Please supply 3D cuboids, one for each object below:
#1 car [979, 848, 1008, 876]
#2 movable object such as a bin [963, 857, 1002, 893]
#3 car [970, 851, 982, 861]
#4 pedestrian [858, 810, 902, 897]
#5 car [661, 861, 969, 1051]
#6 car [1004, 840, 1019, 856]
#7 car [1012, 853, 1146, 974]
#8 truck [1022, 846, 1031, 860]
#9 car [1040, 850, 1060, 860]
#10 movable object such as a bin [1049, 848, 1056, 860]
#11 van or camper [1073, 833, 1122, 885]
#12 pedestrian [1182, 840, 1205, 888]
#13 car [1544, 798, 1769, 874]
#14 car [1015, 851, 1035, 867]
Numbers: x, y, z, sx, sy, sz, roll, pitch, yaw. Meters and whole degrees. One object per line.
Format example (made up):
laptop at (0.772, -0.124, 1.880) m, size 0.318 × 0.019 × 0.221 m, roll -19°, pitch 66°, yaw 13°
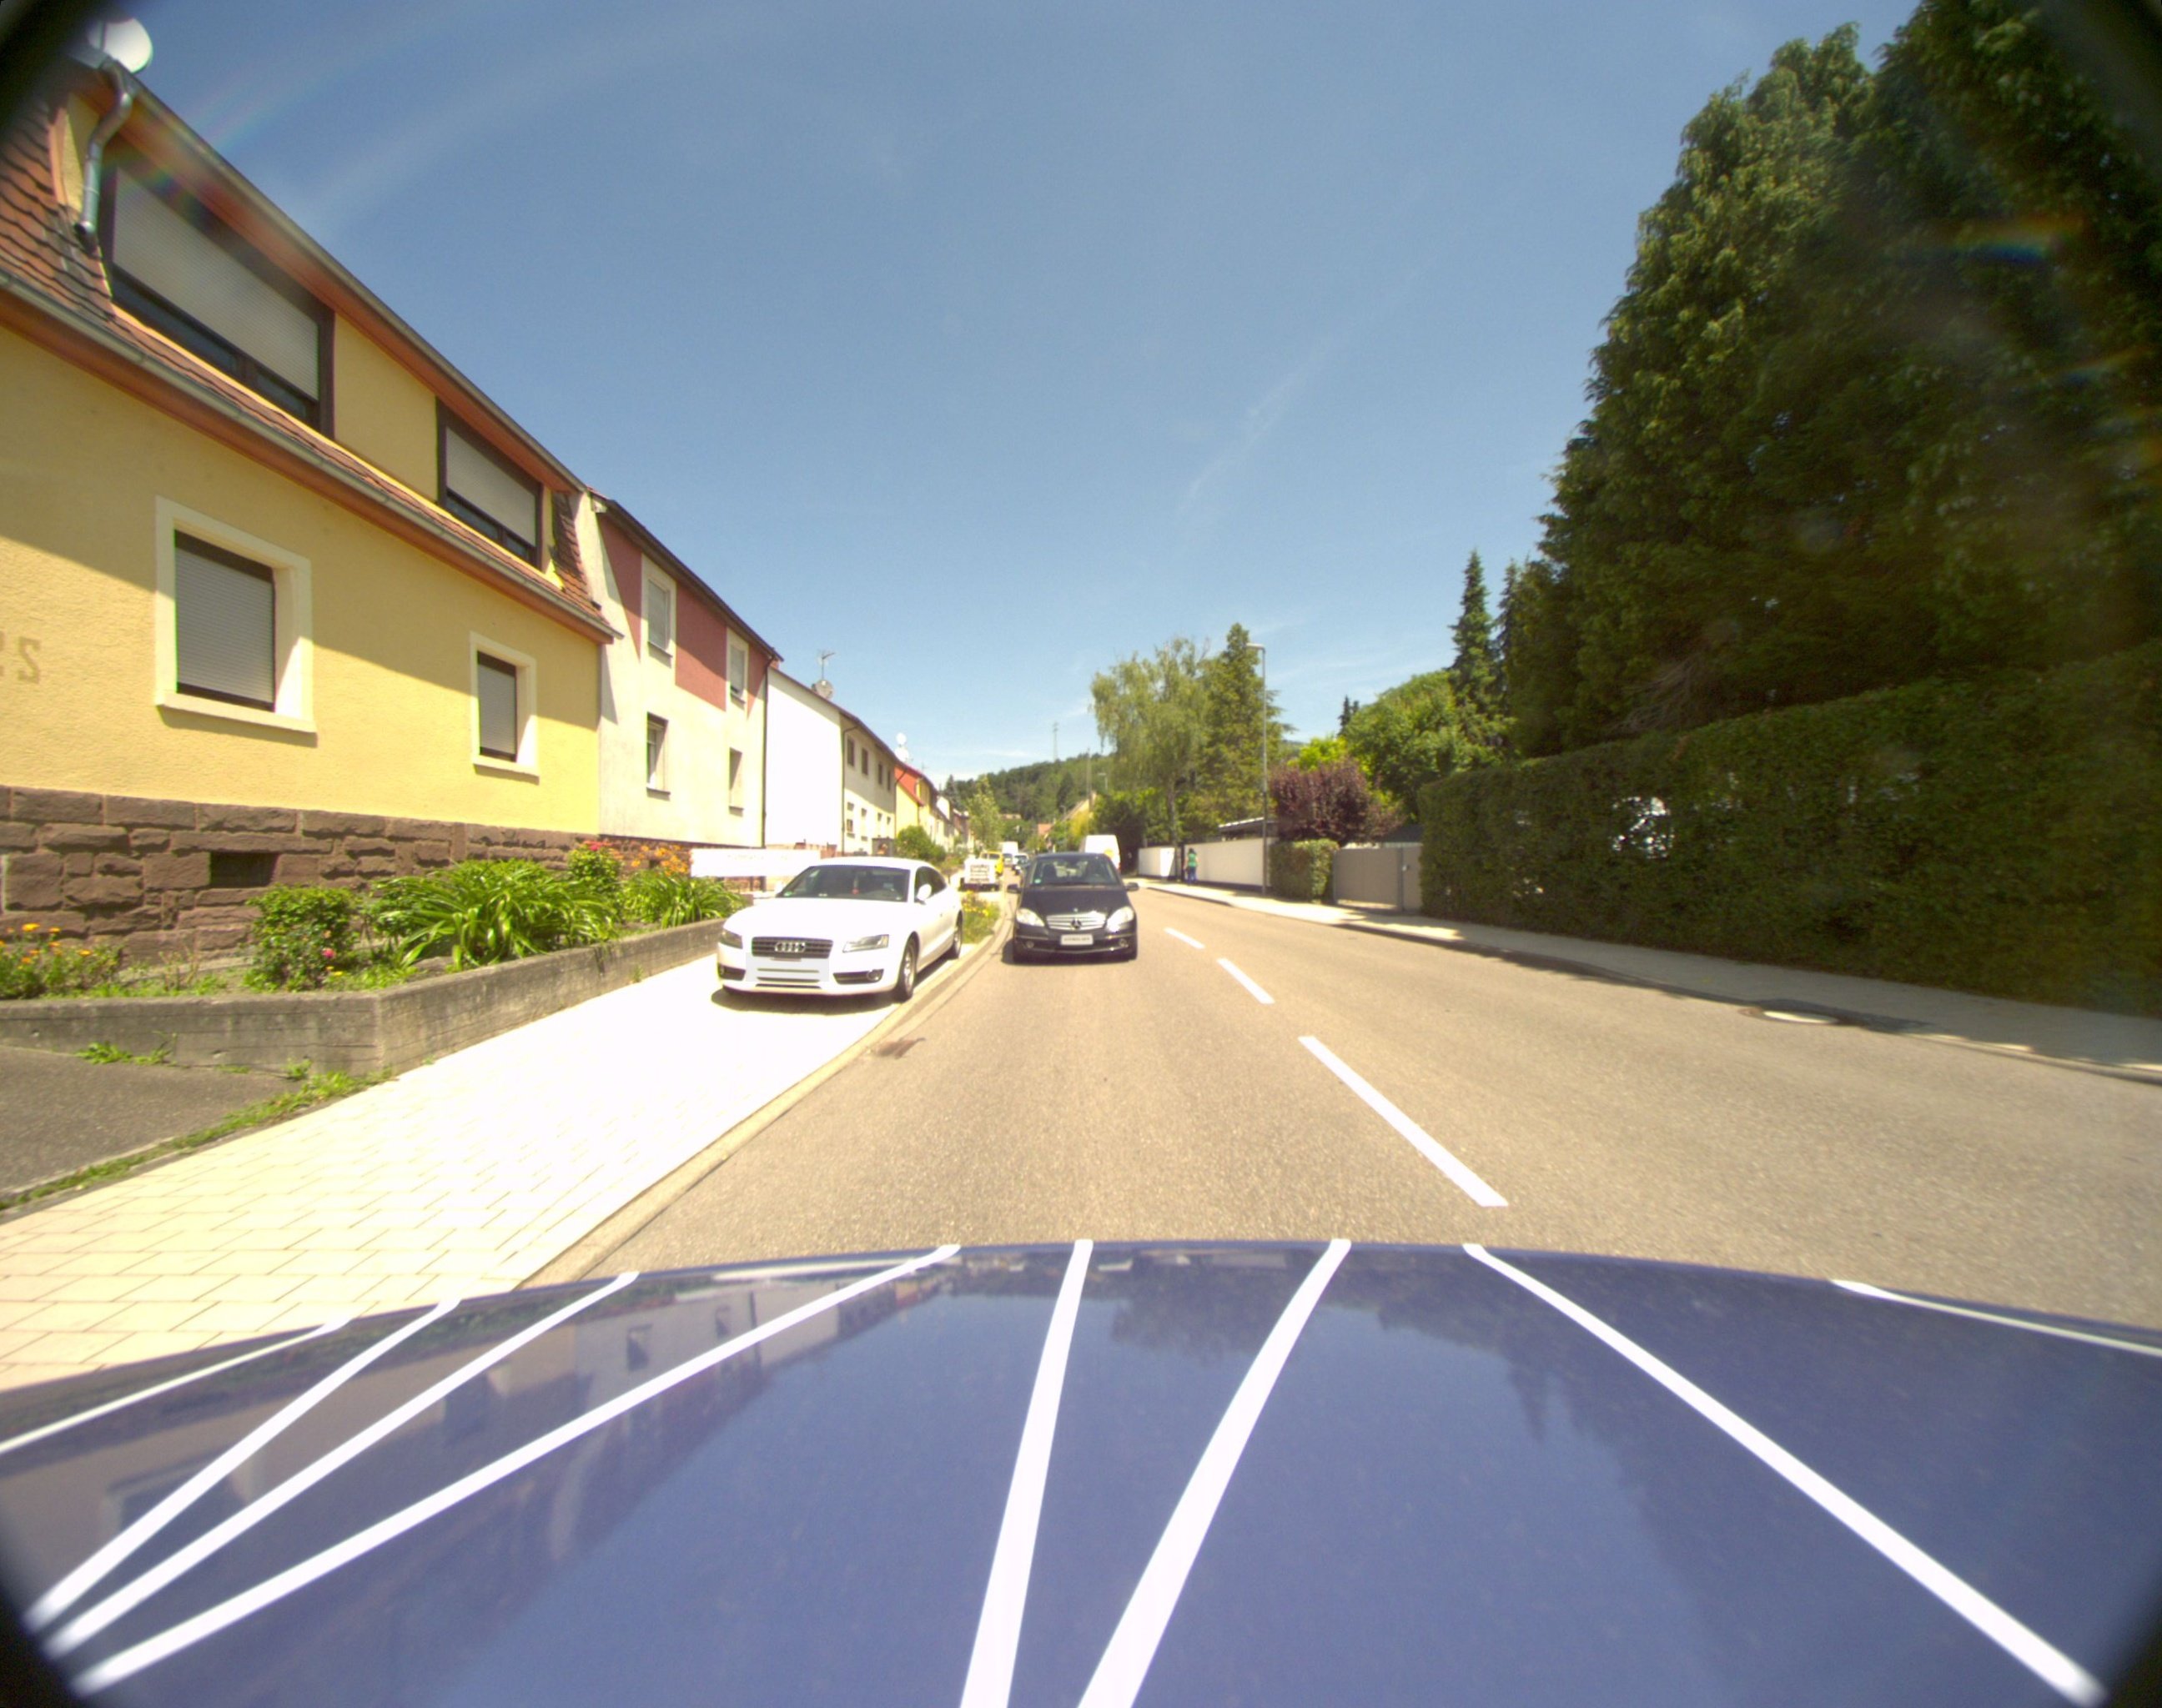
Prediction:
car at (-7.171, 0.590, 62.197) m, size 2.196 × 2.002 × 5.618 m, roll 4°, pitch 1°, yaw -7°
movable object such as a bin at (-4.216, 0.887, 32.651) m, size 1.576 × 1.408 × 3.039 m, roll 0°, pitch 1°, yaw -6°
car at (-18.323, 0.352, 132.598) m, size 1.868 × 1.612 × 4.505 m, roll 3°, pitch 1°, yaw -5°
pedestrian at (-4.810, -0.017, 18.257) m, size 0.748 × 2.002 × 1.032 m, roll -2°, pitch 2°, yaw -4°
car at (-2.587, 0.877, 8.699) m, size 1.760 × 1.410 × 4.632 m, roll 2°, pitch 1°, yaw 2°
car at (-9.658, -0.877, 106.104) m, size 1.988 × 2.170 × 3.997 m, roll -2°, pitch 1°, yaw -6°
car at (-0.214, 0.867, 12.791) m, size 1.768 × 1.571 × 4.930 m, roll -2°, pitch -1°, yaw -5°
truck at (-14.783, -0.410, 205.963) m, size 2.549 × 3.716 × 8.617 m, roll 0°, pitch 0°, yaw -4°
car at (-5.829, 0.137, 144.447) m, size 3.608 × 1.780 × 1.847 m, roll -2°, pitch 1°, yaw -7°
movable object such as a bin at (-5.251, -0.008, 138.579) m, size 1.062 × 2.002 × 1.322 m, roll -2°, pitch 2°, yaw -6°
van or camper at (0.860, 0.260, 43.204) m, size 2.044 × 2.698 × 5.820 m, roll -1°, pitch 0°, yaw -6°
pedestrian at (4.760, 0.408, 32.225) m, size 0.723 × 2.002 × 0.803 m, roll -2°, pitch 2°, yaw -9°
car at (16.125, -0.510, 21.476) m, size 4.814 × 1.883 × 2.160 m, roll -2°, pitch 1°, yaw -3°
car at (-6.390, 0.549, 86.461) m, size 2.000 × 1.716 × 3.997 m, roll -2°, pitch 1°, yaw -7°
